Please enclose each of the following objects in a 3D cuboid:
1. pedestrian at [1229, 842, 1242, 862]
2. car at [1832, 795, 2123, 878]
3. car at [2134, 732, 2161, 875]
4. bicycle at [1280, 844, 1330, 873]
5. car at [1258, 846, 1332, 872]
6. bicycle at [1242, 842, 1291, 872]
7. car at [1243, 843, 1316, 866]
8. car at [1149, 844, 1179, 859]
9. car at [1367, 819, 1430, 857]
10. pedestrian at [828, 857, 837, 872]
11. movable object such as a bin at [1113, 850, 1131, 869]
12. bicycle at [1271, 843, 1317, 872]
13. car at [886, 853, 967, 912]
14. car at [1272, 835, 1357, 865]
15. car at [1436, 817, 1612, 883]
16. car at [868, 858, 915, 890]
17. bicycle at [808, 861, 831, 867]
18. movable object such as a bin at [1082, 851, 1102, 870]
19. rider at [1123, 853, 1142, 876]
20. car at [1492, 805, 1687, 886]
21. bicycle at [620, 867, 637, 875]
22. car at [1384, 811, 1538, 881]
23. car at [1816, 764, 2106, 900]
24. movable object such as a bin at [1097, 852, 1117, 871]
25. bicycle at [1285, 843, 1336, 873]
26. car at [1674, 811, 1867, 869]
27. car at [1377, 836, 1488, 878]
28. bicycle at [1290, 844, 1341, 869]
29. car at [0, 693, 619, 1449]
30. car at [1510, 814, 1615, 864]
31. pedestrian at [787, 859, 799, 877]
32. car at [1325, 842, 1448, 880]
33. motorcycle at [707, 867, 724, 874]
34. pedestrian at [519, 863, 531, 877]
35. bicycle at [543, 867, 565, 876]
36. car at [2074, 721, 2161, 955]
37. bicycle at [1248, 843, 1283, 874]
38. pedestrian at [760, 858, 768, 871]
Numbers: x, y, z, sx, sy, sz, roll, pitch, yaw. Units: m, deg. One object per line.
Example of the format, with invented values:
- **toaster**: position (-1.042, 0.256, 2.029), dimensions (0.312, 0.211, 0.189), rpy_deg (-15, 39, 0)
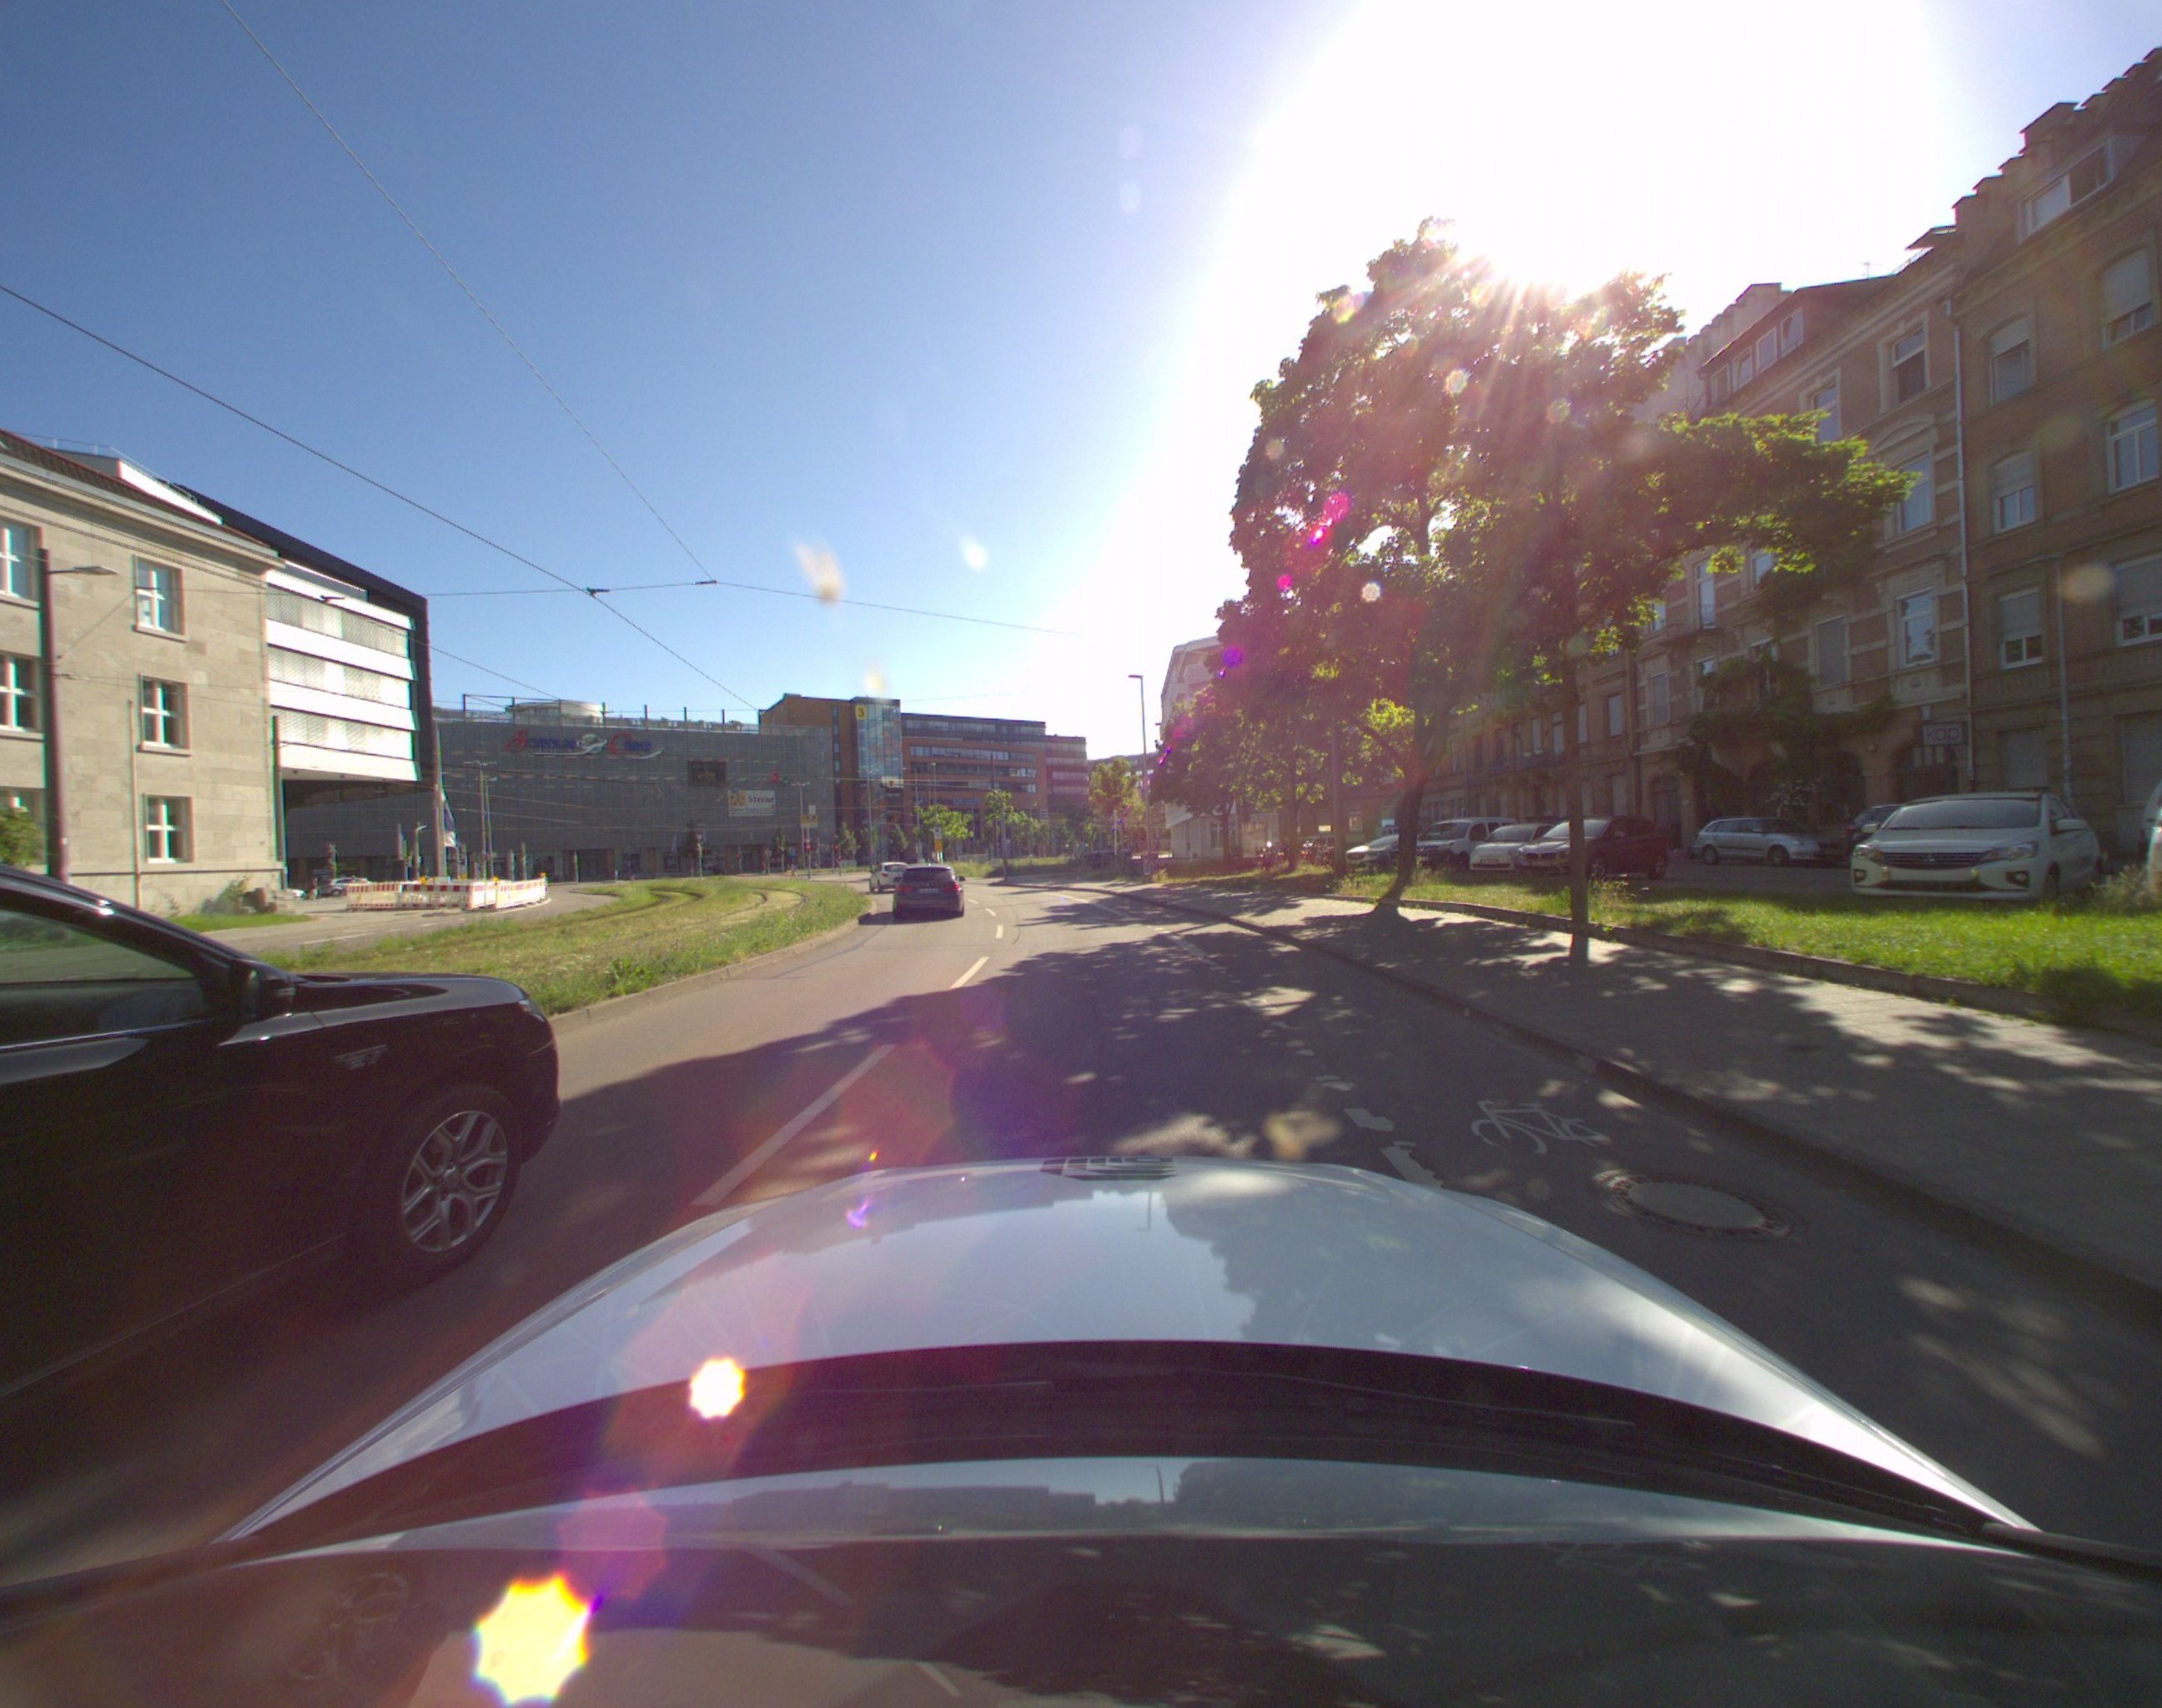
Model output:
- **pedestrian**: position (11.965, -0.158, 62.981), dimensions (0.634, 1.577, 0.776), rpy_deg (-2, -1, 39)
- **car**: position (20.644, -0.361, 19.122), dimensions (1.985, 1.691, 4.516), rpy_deg (-1, 0, 3)
- **car**: position (20.305, -0.932, 12.700), dimensions (1.985, 2.585, 4.518), rpy_deg (-3, 0, 4)
- **bicycle**: position (9.951, 0.184, 36.230), dimensions (1.950, 1.192, 0.842), rpy_deg (-3, 0, 1)
- **car**: position (12.561, 0.306, 47.867), dimensions (3.842, 1.441, 1.749), rpy_deg (-1, 0, -19)
- **bicycle**: position (8.644, 0.135, 37.959), dimensions (2.089, 1.365, 0.786), rpy_deg (-1, -1, -4)
- **car**: position (12.179, 0.020, 50.081), dimensions (4.059, 1.337, 1.826), rpy_deg (-1, 0, -22)
- **car**: position (11.942, -0.352, 117.333), dimensions (3.955, 2.014, 2.009), rpy_deg (-1, -1, 17)
- **car**: position (21.429, -1.031, 55.231), dimensions (2.339, 2.357, 5.192), rpy_deg (-3, 0, 3)
- **pedestrian**: position (-29.388, 1.241, 96.156), dimensions (0.813, 1.709, 0.753), rpy_deg (0, -1, -36)
- **movable object such as a bin**: position (3.111, 0.409, 61.474), dimensions (1.020, 1.398, 1.096), rpy_deg (-1, 0, 22)
- **bicycle**: position (10.682, 0.177, 40.936), dimensions (2.092, 1.398, 0.785), rpy_deg (-1, -1, -9)
- **car**: position (-4.101, 0.779, 22.277), dimensions (1.731, 1.423, 4.458), rpy_deg (2, -2, -6)
- **car**: position (12.926, -0.208, 44.963), dimensions (4.483, 1.565, 1.920), rpy_deg (-1, 0, -29)
- **car**: position (12.912, -0.125, 23.684), dimensions (4.892, 1.648, 2.082), rpy_deg (-3, -1, -28)
- **car**: position (-9.100, 0.955, 38.906), dimensions (1.638, 1.423, 3.755), rpy_deg (2, -2, -21)
- **bicycle**: position (-42.506, 1.611, 132.334), dimensions (3.381, 1.077, 1.106), rpy_deg (0, 0, -30)
- **movable object such as a bin**: position (0.864, 0.480, 61.826), dimensions (1.059, 1.398, 1.311), rpy_deg (-1, 0, 22)
- **rider**: position (2.728, 0.538, 42.895), dimensions (0.497, 1.176, 1.684), rpy_deg (-1, 1, 19)
- **car**: position (12.516, -0.215, 20.004), dimensions (4.524, 1.727, 1.982), rpy_deg (-3, -1, -28)
- **bicycle**: position (-64.166, 2.387, 115.541), dimensions (2.042, 1.059, 1.132), rpy_deg (-1, 0, -37)
- **car**: position (12.239, -0.277, 26.151), dimensions (4.898, 2.013, 2.079), rpy_deg (-3, -1, -32)
- **car**: position (11.604, -0.292, 10.689), dimensions (4.044, 1.478, 1.795), rpy_deg (-3, -1, -32)
- **movable object such as a bin**: position (1.985, 0.535, 61.717), dimensions (1.097, 1.398, 1.328), rpy_deg (-1, 0, 22)
- **bicycle**: position (9.939, 0.176, 35.306), dimensions (1.937, 1.180, 0.900), rpy_deg (-2, -1, 1)
- **car**: position (20.790, -0.400, 24.871), dimensions (1.988, 1.529, 4.510), rpy_deg (-3, 0, -2)
- **car**: position (12.525, 0.082, 29.006), dimensions (3.627, 1.380, 1.906), rpy_deg (-1, 0, -32)
- **bicycle**: position (11.131, 0.132, 38.720), dimensions (2.156, 1.158, 0.822), rpy_deg (-1, -1, -2)
- **car**: position (-3.327, 0.485, 1.746), dimensions (1.828, 1.682, 4.646), rpy_deg (0, -1, 3)
- **car**: position (21.204, -0.657, 36.143), dimensions (1.985, 1.977, 4.727), rpy_deg (-3, 0, 3)
- **pedestrian**: position (-27.707, 1.369, 78.408), dimensions (0.892, 1.707, 0.705), rpy_deg (0, -1, -37)
- **car**: position (12.014, 0.247, 31.908), dimensions (4.769, 1.380, 2.025), rpy_deg (-1, 0, -32)
- **motorcycle**: position (-54.982, 2.523, 122.482), dimensions (2.219, 1.042, 1.050), rpy_deg (0, 0, -36)
- **pedestrian**: position (-70.960, 2.047, 103.886), dimensions (0.898, 1.868, 0.822), rpy_deg (-1, -1, 7)
- **bicycle**: position (-68.131, 2.275, 105.318), dimensions (1.035, 1.070, 2.253), rpy_deg (-1, 0, 14)
- **car**: position (11.863, -0.267, 7.689), dimensions (5.200, 2.013, 2.082), rpy_deg (-3, -1, -28)
- **bicycle**: position (8.047, 0.176, 35.505), dimensions (0.760, 1.290, 1.607), rpy_deg (-2, 0, 42)
- **pedestrian**: position (-44.433, 1.497, 114.107), dimensions (0.861, 1.738, 0.744), rpy_deg (-1, -1, -42)
